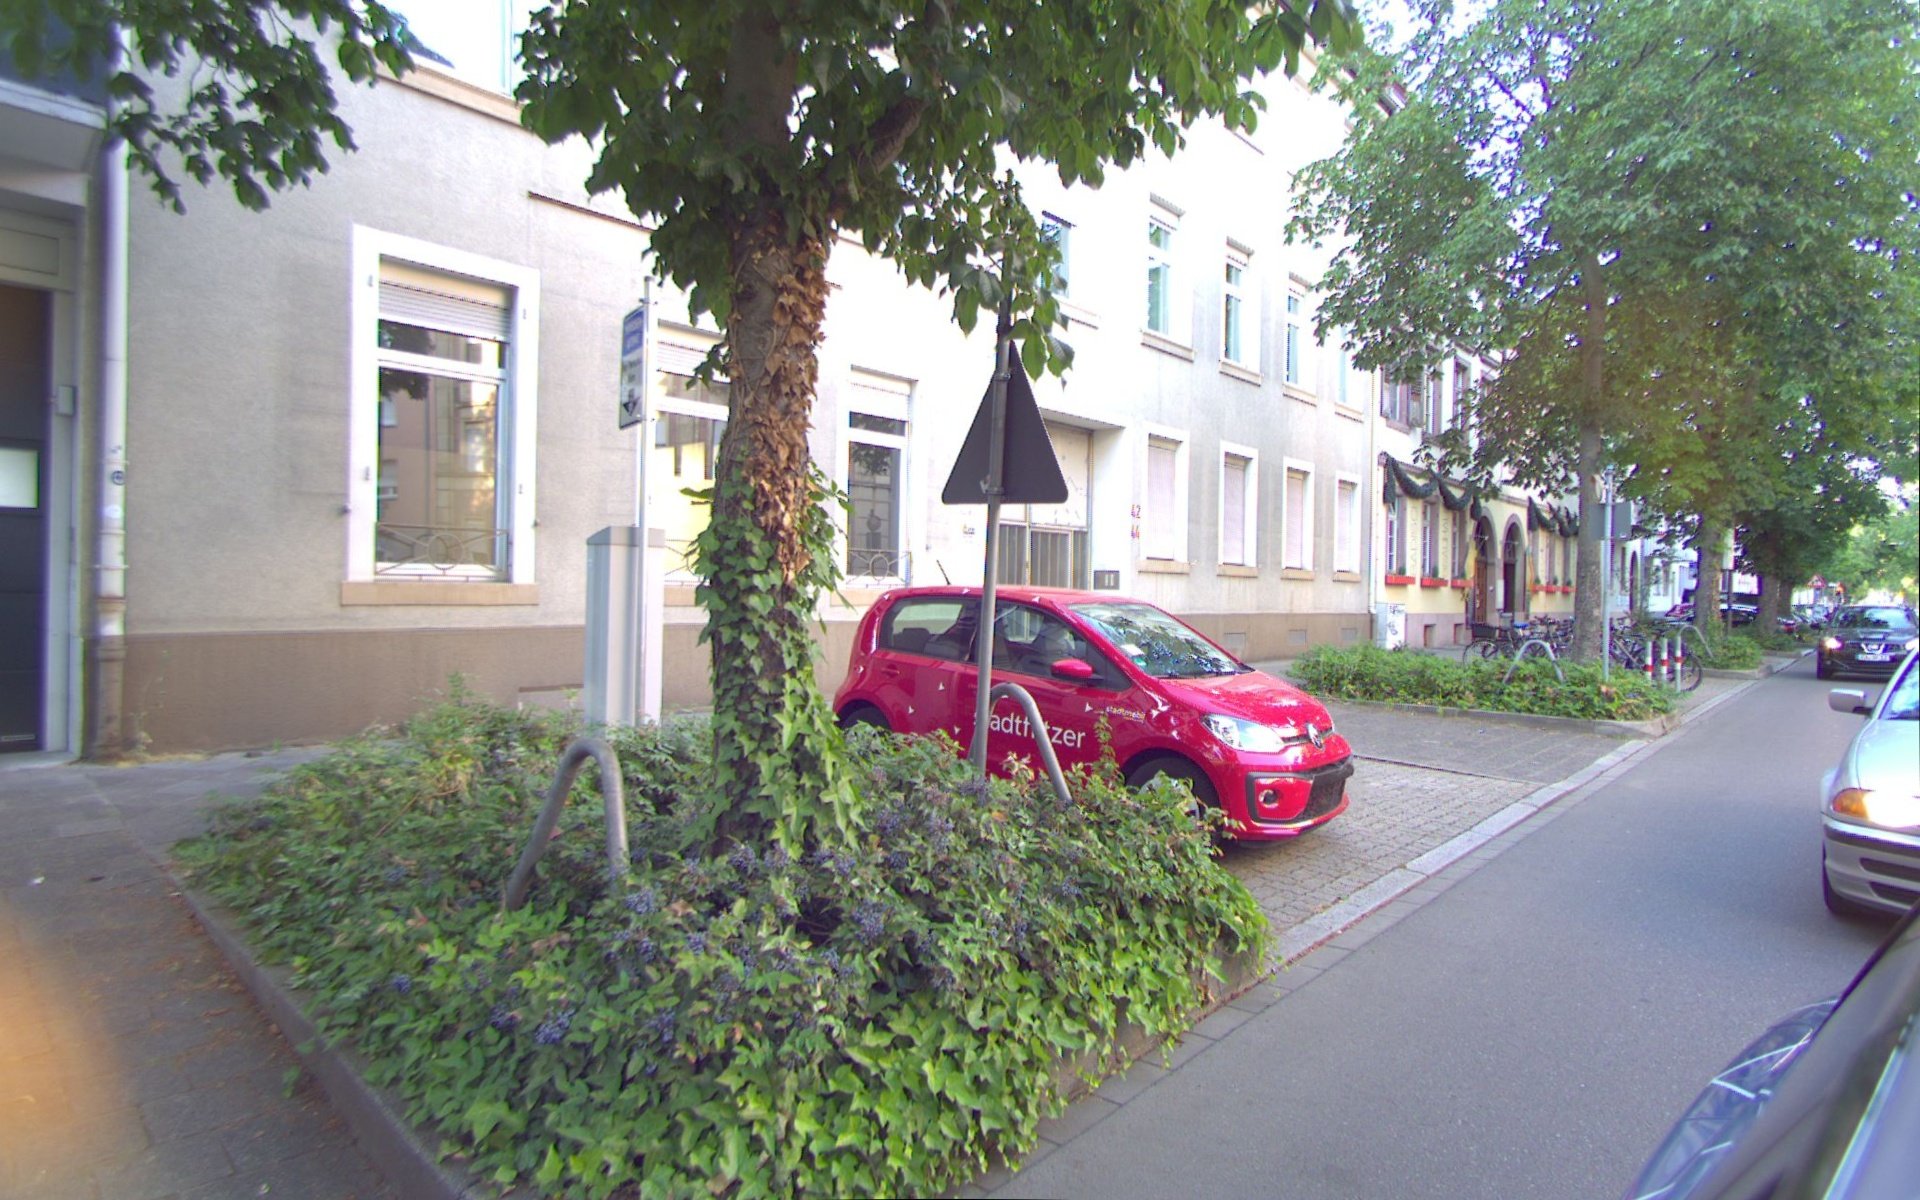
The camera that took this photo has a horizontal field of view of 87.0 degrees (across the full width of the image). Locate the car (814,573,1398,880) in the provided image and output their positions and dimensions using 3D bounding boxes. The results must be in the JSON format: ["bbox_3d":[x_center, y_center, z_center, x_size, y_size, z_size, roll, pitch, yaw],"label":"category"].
[{"bbox_3d":[0.809,0.588,6.827,3.608,1.495,1.639,2,1,42],"label":"car"}]

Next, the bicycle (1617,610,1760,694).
[{"bbox_3d":[11.856,0.827,16.543,1.835,1.242,0.529,2,1,33],"label":"bicycle"}]

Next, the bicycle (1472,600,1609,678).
[{"bbox_3d":[10.088,0.654,17.633,2.014,1.242,0.529,2,1,33],"label":"bicycle"}]

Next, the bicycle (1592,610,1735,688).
[{"bbox_3d":[12.359,0.828,17.830,2.019,1.242,0.528,2,1,39],"label":"bicycle"}]

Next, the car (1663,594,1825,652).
[{"bbox_3d":[26.621,0.721,34.459,4.232,1.761,1.715,2,1,43],"label":"car"}]

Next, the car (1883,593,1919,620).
[{"bbox_3d":[58.744,0.394,62.970,1.802,1.571,3.936,2,1,44],"label":"car"}]

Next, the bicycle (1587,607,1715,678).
[{"bbox_3d":[13.475,0.804,19.776,2.019,1.242,0.528,2,1,39],"label":"bicycle"}]

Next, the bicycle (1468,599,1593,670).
[{"bbox_3d":[10.935,0.633,19.437,2.017,1.242,0.529,2,1,37],"label":"bicycle"}]

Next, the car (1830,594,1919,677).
[{"bbox_3d":[19.711,0.688,21.341,1.802,1.571,3.935,2,1,45],"label":"car"}]

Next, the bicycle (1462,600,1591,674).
[{"bbox_3d":[10.304,0.645,18.443,2.014,1.242,0.529,2,1,33],"label":"bicycle"}]

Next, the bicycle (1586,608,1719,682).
[{"bbox_3d":[12.994,0.813,19.023,2.019,1.242,0.528,2,1,39],"label":"bicycle"}]

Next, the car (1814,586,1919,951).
[{"bbox_3d":[5.834,0.688,5.076,4.358,1.460,1.710,0,1,-41],"label":"car"}]
